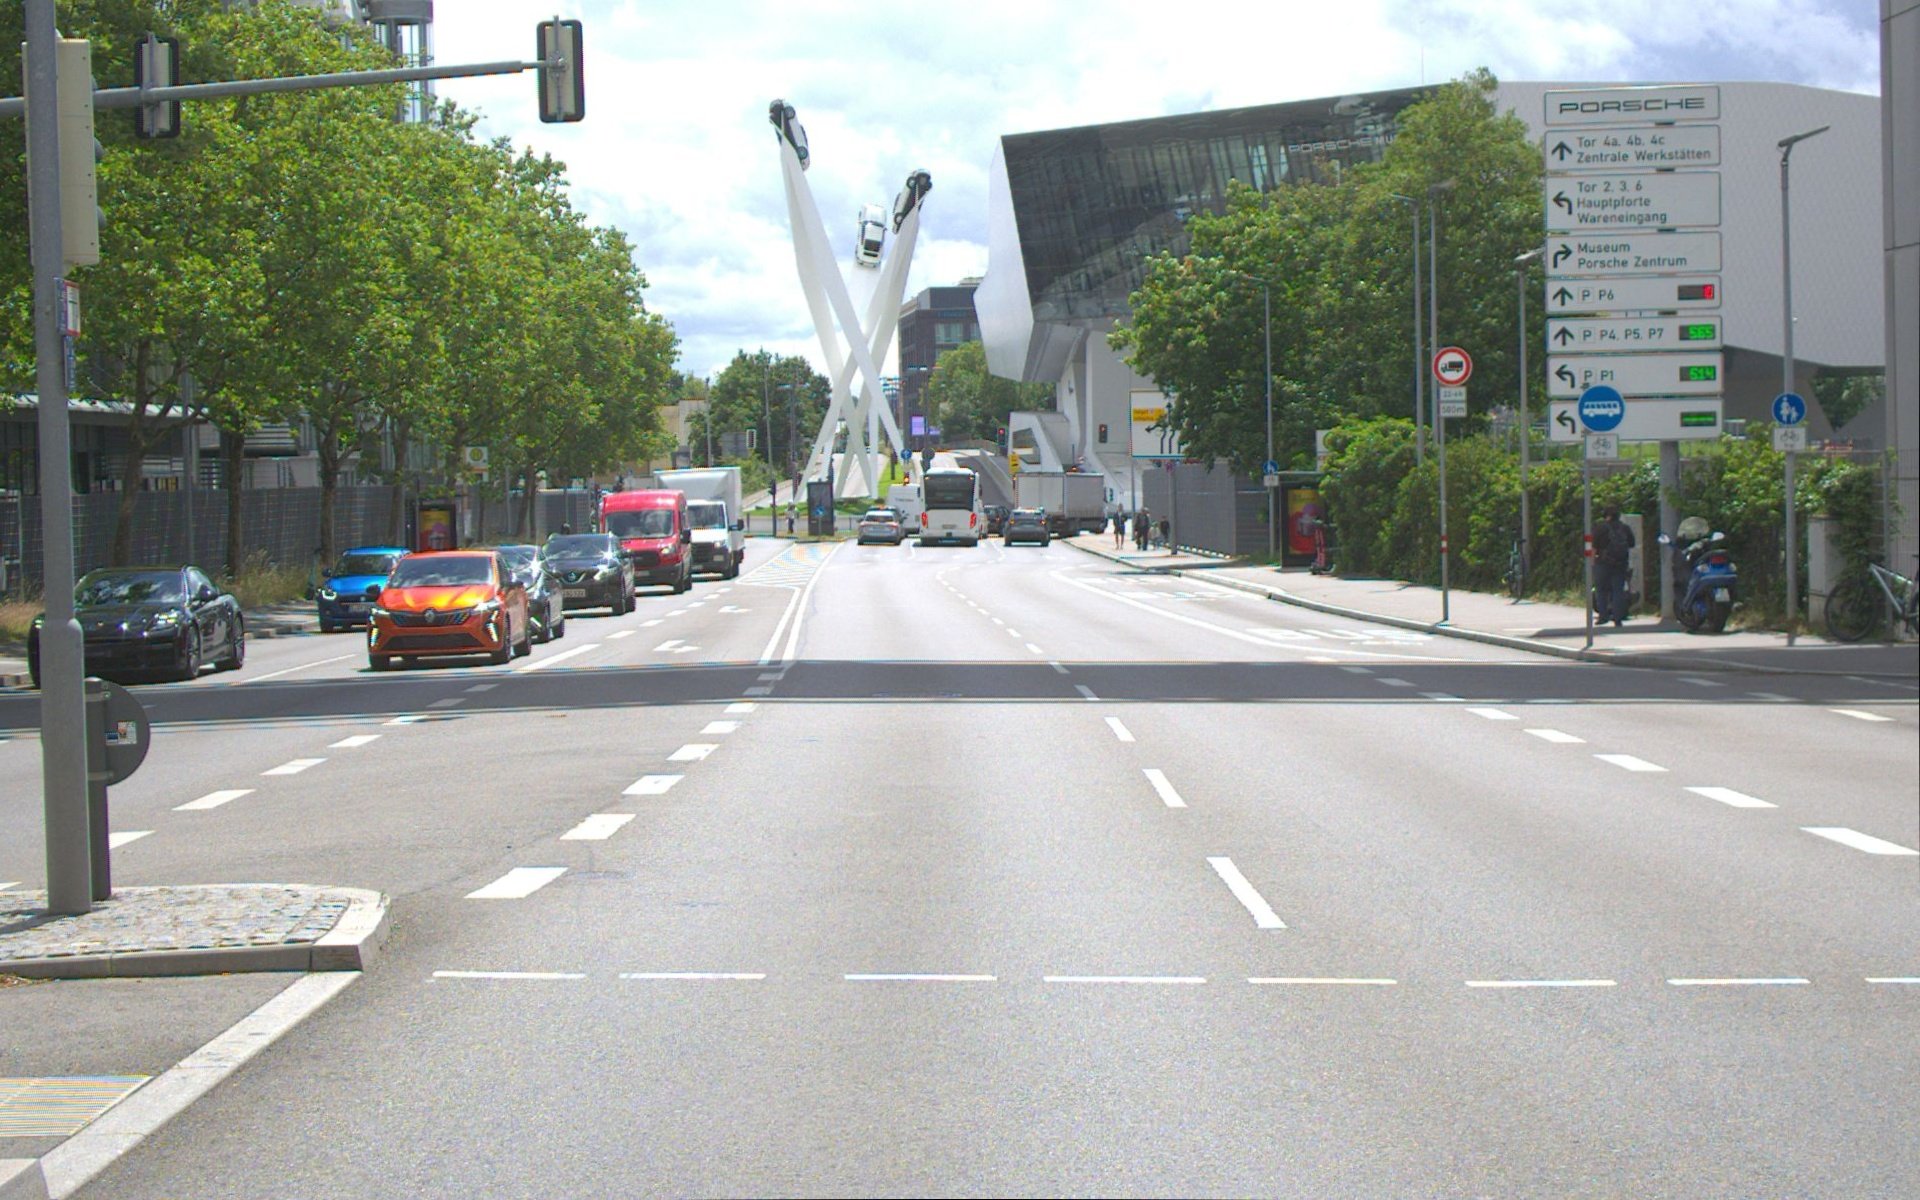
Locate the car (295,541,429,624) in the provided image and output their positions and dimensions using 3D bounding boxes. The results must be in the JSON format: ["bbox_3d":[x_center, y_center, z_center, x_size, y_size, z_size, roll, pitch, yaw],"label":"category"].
[{"bbox_3d":[-10.916,-0.345,62.966,1.727,1.378,3.701,-3,1,0],"label":"car"}]

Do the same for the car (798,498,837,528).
[{"bbox_3d":[-6.450,-3.931,155.658,1.557,1.269,3.701,-3,1,0],"label":"car"}]

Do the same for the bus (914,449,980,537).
[{"bbox_3d":[-0.553,-4.626,150.169,2.787,3.673,6.943,1,1,0],"label":"bus"}]

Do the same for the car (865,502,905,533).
[{"bbox_3d":[-3.238,-3.564,148.731,1.557,1.269,3.701,-3,1,1],"label":"car"}]

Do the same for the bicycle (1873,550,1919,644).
[{"bbox_3d":[11.692,-0.019,39.608,2.222,1.083,0.476,1,1,35],"label":"bicycle"}]

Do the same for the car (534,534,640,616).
[{"bbox_3d":[-7.153,-0.497,66.150,1.557,1.443,3.773,-3,1,0],"label":"car"}]

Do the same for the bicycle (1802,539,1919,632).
[{"bbox_3d":[11.166,-0.176,40.868,2.222,1.083,0.476,1,1,35],"label":"bicycle"}]

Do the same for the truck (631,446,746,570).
[{"bbox_3d":[-7.579,-2.534,96.668,2.591,3.312,7.079,1,1,0],"label":"truck"}]

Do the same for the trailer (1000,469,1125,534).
[{"bbox_3d":[5.194,-4.876,172.144,3.322,2.984,10.366,1,1,19],"label":"trailer"}]

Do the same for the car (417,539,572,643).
[{"bbox_3d":[-7.005,-0.162,52.025,1.769,1.415,3.701,-3,1,0],"label":"car"}]

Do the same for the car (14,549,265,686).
[{"bbox_3d":[-10.154,0.170,42.906,1.917,1.483,4.772,-3,1,0],"label":"car"}]

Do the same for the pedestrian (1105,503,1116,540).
[{"bbox_3d":[5.876,-3.056,133.943,0.386,1.416,0.423,1,0,0],"label":"pedestrian"}]

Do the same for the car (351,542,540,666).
[{"bbox_3d":[-6.497,0.016,43.753,1.769,1.415,3.701,-3,1,0],"label":"car"}]

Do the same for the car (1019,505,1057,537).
[{"bbox_3d":[3.309,-3.364,146.048,1.557,1.269,3.701,-3,1,1],"label":"car"}]

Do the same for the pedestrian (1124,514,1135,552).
[{"bbox_3d":[6.415,-2.538,130.136,0.386,1.416,0.423,1,0,0],"label":"pedestrian"}]

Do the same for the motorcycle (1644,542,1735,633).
[{"bbox_3d":[9.542,-0.166,45.023,0.418,1.162,1.957,1,1,-11],"label":"motorcycle"}]

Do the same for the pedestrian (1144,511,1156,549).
[{"bbox_3d":[7.186,-2.651,130.057,0.386,1.416,0.423,1,0,0],"label":"pedestrian"}]

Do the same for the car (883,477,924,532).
[{"bbox_3d":[-2.797,-4.732,171.168,1.844,2.614,4.000,1,1,2],"label":"car"}]

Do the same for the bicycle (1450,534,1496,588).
[{"bbox_3d":[9.736,-0.741,65.264,0.418,1.019,1.913,1,1,-5],"label":"bicycle"}]

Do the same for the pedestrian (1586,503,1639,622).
[{"bbox_3d":[9.083,-0.525,47.881,0.533,1.635,0.658,1,0,-6],"label":"pedestrian"}]

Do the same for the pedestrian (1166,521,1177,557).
[{"bbox_3d":[8.244,-2.375,133.773,0.386,1.416,0.423,1,0,0],"label":"pedestrian"}]

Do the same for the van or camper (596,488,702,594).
[{"bbox_3d":[-7.467,-1.439,82.983,2.047,2.458,5.595,0,1,0],"label":"van or camper"}]
